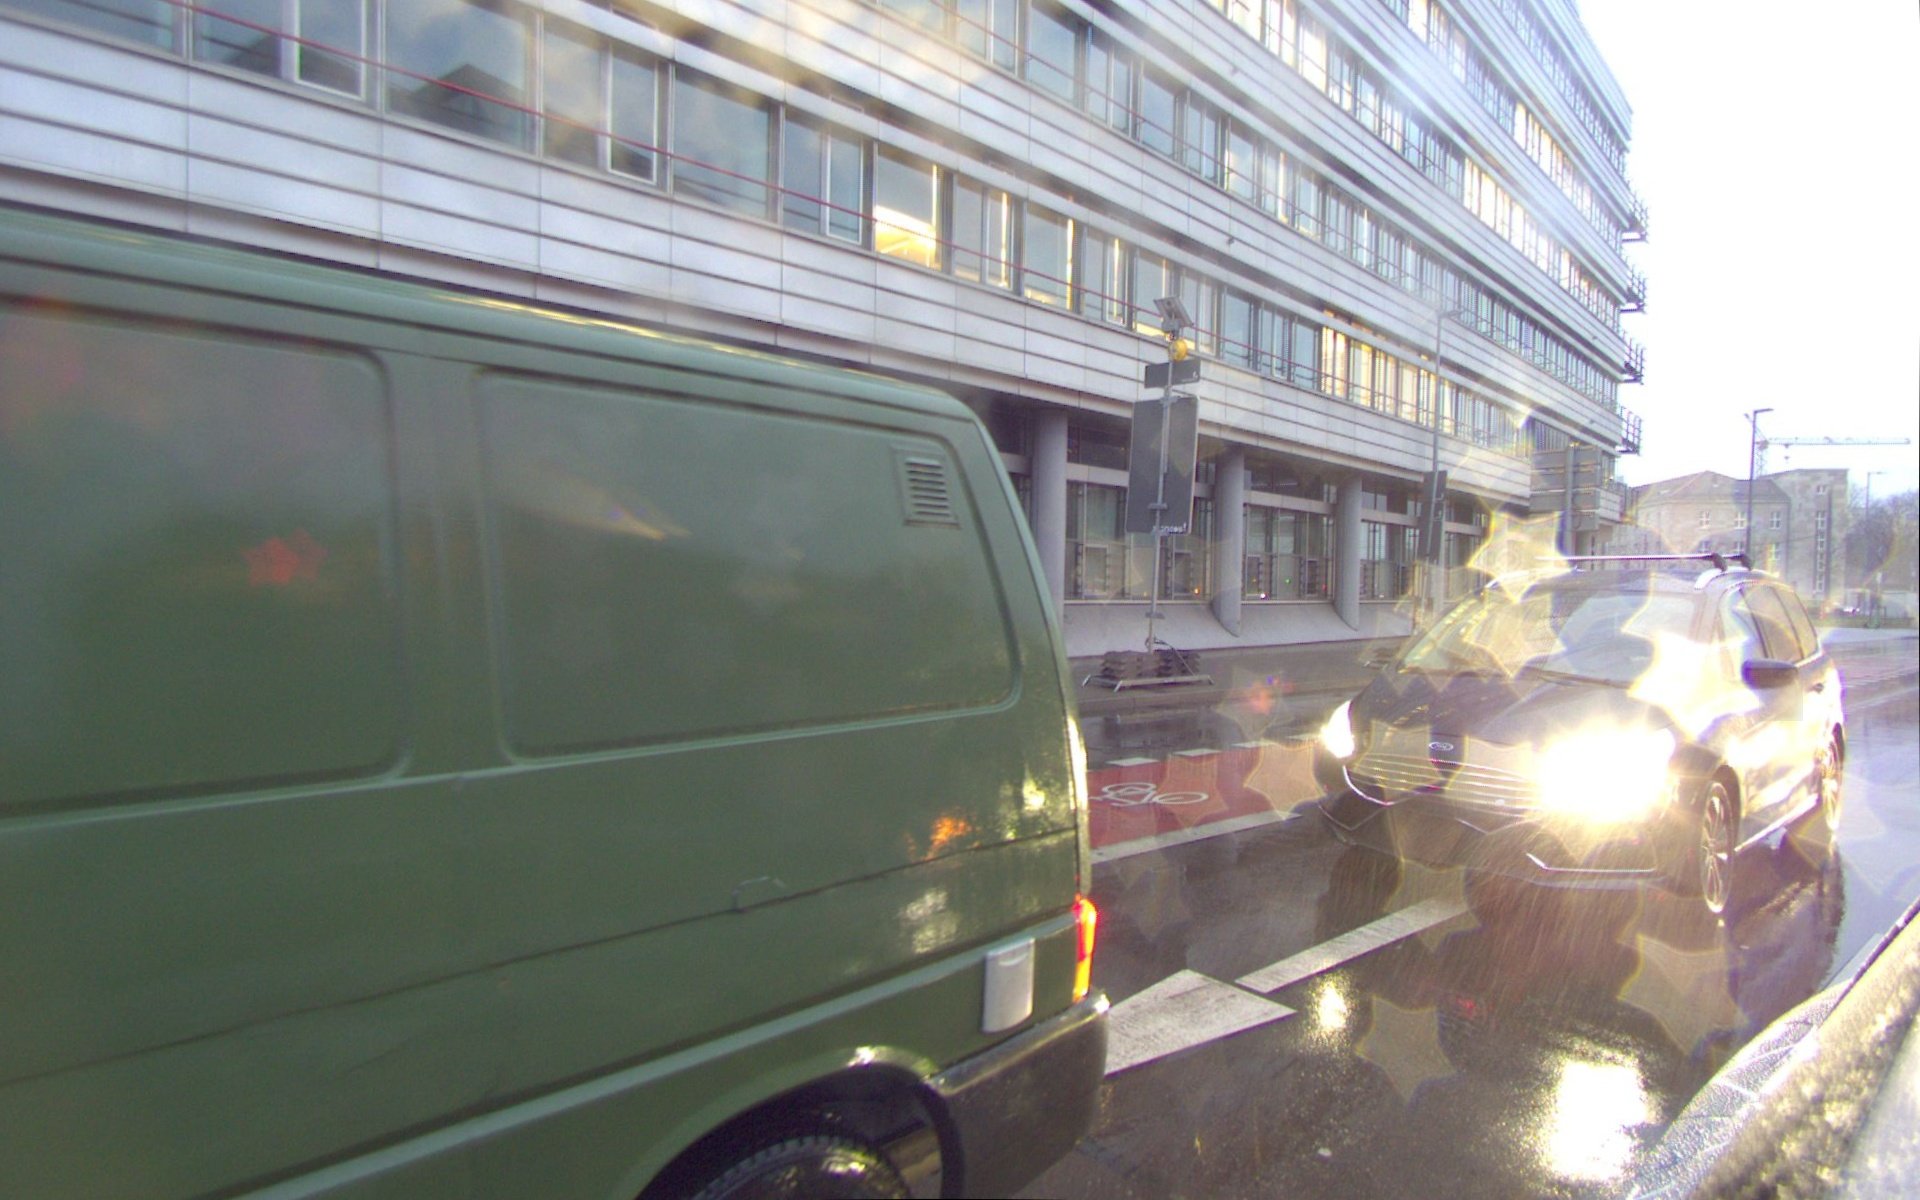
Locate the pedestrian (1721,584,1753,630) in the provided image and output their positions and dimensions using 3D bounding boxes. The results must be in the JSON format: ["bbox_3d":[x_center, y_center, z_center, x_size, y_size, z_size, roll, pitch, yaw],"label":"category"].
[{"bbox_3d":[30.279,0.271,39.437,0.953,1.722,0.746,0,4,-44],"label":"pedestrian"}]

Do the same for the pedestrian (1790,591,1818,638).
[{"bbox_3d":[31.327,0.517,37.560,0.870,1.689,0.615,0,3,-44],"label":"pedestrian"}]

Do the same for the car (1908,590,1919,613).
[{"bbox_3d":[76.444,0.165,78.462,1.743,1.730,3.932,0,1,-26],"label":"car"}]

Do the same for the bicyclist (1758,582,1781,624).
[{"bbox_3d":[36.121,0.130,45.161,0.793,1.820,0.670,0,2,-45],"label":"bicyclist"}]

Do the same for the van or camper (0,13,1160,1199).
[{"bbox_3d":[-1.822,0.446,1.194,4.341,1.931,1.760,0,0,-41],"label":"van or camper"}]

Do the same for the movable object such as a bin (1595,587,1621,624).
[{"bbox_3d":[25.351,0.212,39.618,0.826,1.446,0.665,0,1,-44],"label":"movable object such as a bin"}]

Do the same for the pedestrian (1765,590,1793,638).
[{"bbox_3d":[30.767,0.513,38.006,0.870,1.723,0.650,0,3,-44],"label":"pedestrian"}]

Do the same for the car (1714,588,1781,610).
[{"bbox_3d":[71.040,-0.110,91.357,1.958,1.782,4.386,0,1,-24],"label":"car"}]

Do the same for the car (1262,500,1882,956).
[{"bbox_3d":[4.011,0.506,6.268,4.587,1.834,1.887,0,0,-39],"label":"car"}]

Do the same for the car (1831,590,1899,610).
[{"bbox_3d":[74.146,-0.014,82.952,1.743,1.556,3.775,1,1,-24],"label":"car"}]

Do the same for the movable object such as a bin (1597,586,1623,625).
[{"bbox_3d":[25.926,0.211,40.352,0.826,1.495,0.665,0,1,-44],"label":"movable object such as a bin"}]

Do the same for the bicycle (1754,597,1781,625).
[{"bbox_3d":[35.980,0.482,45.082,1.732,1.213,0.680,-1,3,-44],"label":"bicycle"}]

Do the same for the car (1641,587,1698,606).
[{"bbox_3d":[68.467,-0.365,97.736,1.958,1.693,4.013,0,1,-24],"label":"car"}]

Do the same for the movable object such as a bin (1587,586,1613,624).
[{"bbox_3d":[24.692,0.196,39.034,0.826,1.446,0.665,0,1,-44],"label":"movable object such as a bin"}]

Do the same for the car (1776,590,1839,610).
[{"bbox_3d":[72.736,-0.023,86.927,1.743,1.556,3.775,1,1,-24],"label":"car"}]
